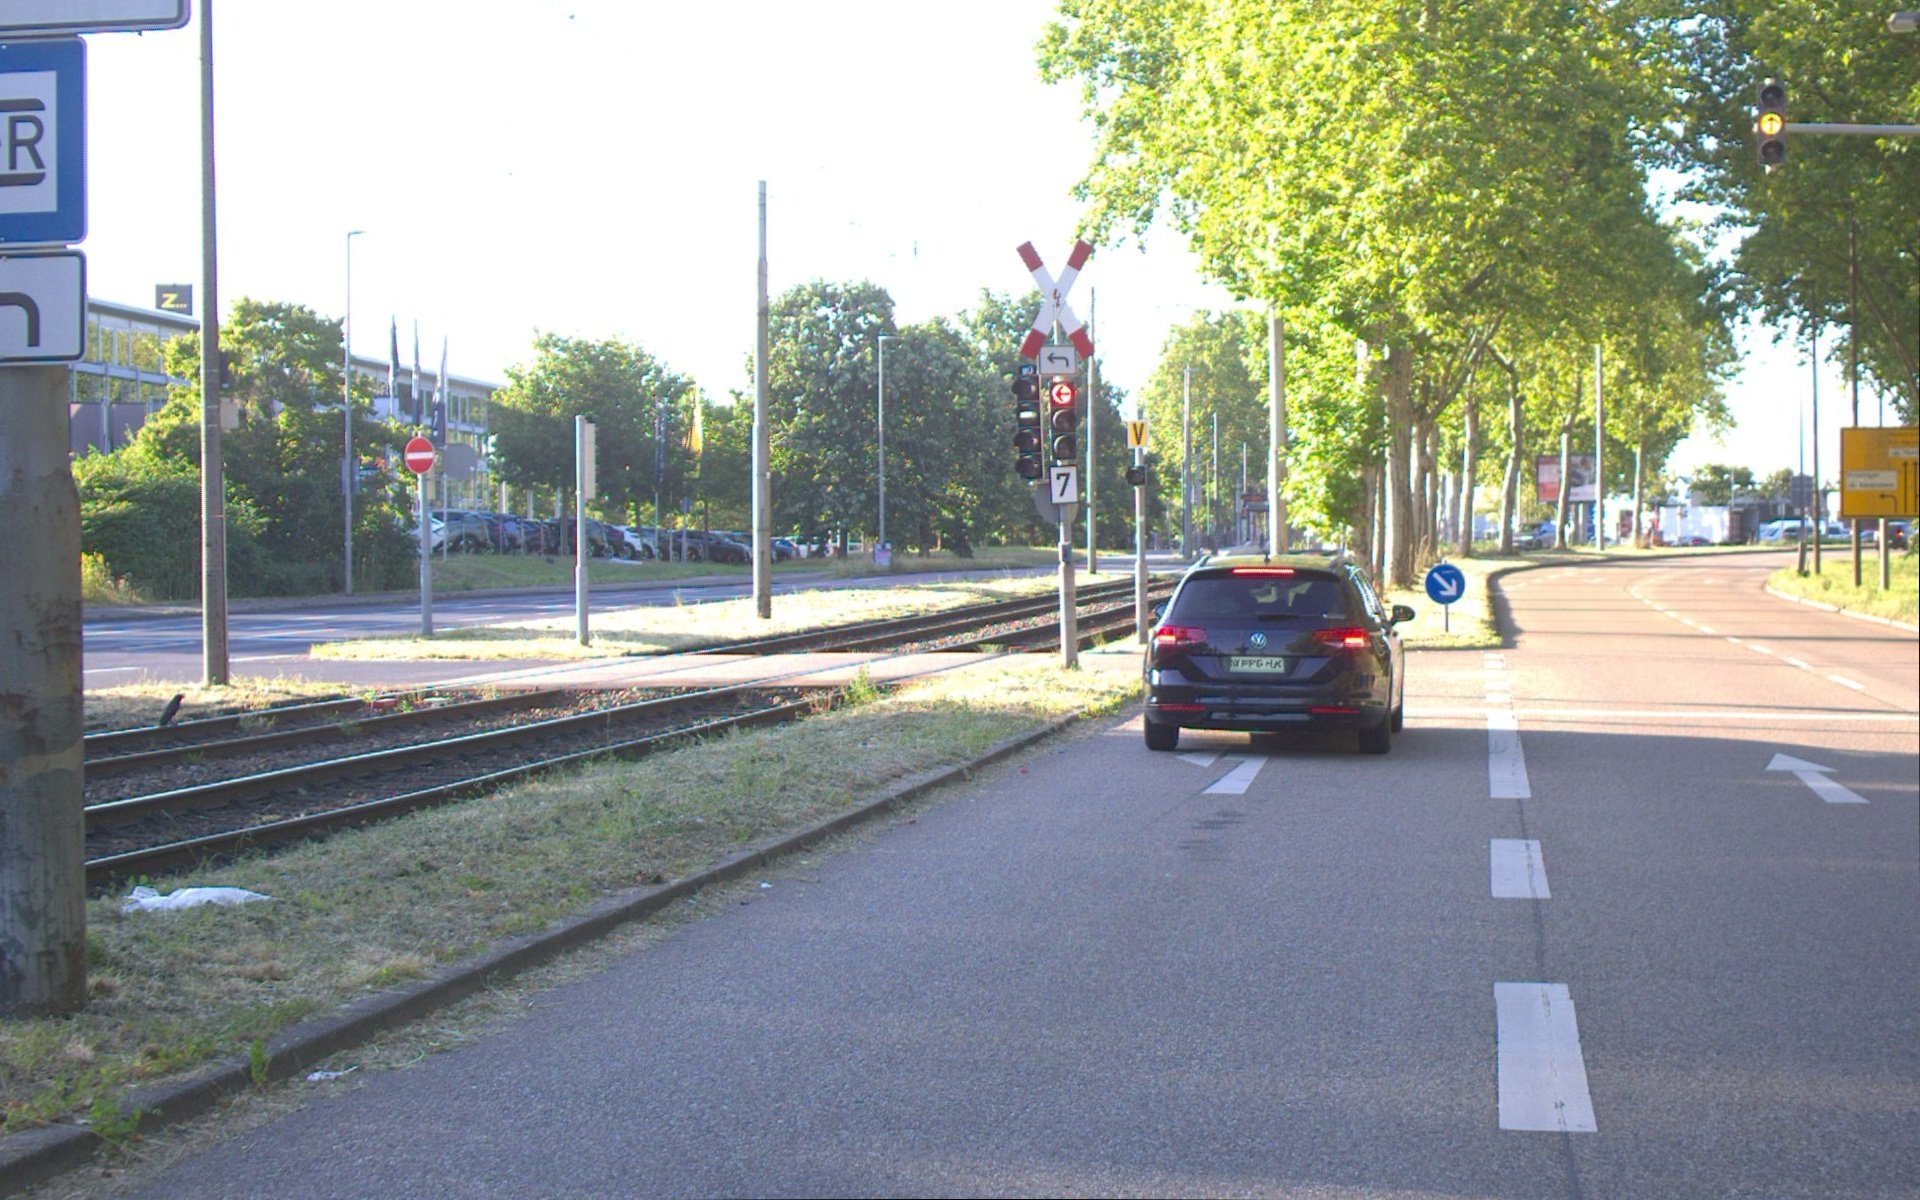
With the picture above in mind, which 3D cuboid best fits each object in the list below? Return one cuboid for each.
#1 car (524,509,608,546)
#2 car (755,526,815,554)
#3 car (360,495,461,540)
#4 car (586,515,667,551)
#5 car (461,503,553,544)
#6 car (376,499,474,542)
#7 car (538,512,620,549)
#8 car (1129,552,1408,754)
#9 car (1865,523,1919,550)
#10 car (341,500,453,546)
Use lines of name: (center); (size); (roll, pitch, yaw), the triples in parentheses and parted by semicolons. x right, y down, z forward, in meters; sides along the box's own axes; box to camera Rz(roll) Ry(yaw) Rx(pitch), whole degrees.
car: (-15.918, -2.938, 139.042); (3.143, 1.485, 1.455); (1, 1, 6)
car: (-9.717, -3.332, 190.822); (3.143, 1.485, 1.455); (1, 1, 6)
car: (-18.774, -2.815, 117.471); (3.143, 1.485, 1.455); (1, 1, 6)
car: (-14.078, -2.810, 145.156); (3.143, 1.485, 1.455); (1, 1, 6)
car: (-16.925, -2.857, 128.446); (3.143, 1.485, 1.455); (1, 1, 6)
car: (-18.876, -2.806, 121.345); (3.143, 1.485, 1.455); (1, 1, 6)
car: (-15.779, -2.878, 142.370); (3.143, 1.485, 1.455); (1, 1, 6)
car: (2.404, 0.343, 26.038); (1.793, 1.398, 3.687); (1, 1, 10)
car: (49.969, -3.361, 181.922); (3.676, 1.398, 1.798); (0, 0, -2)
car: (-17.370, -2.385, 106.144); (3.143, 1.387, 1.455); (1, 1, 6)
